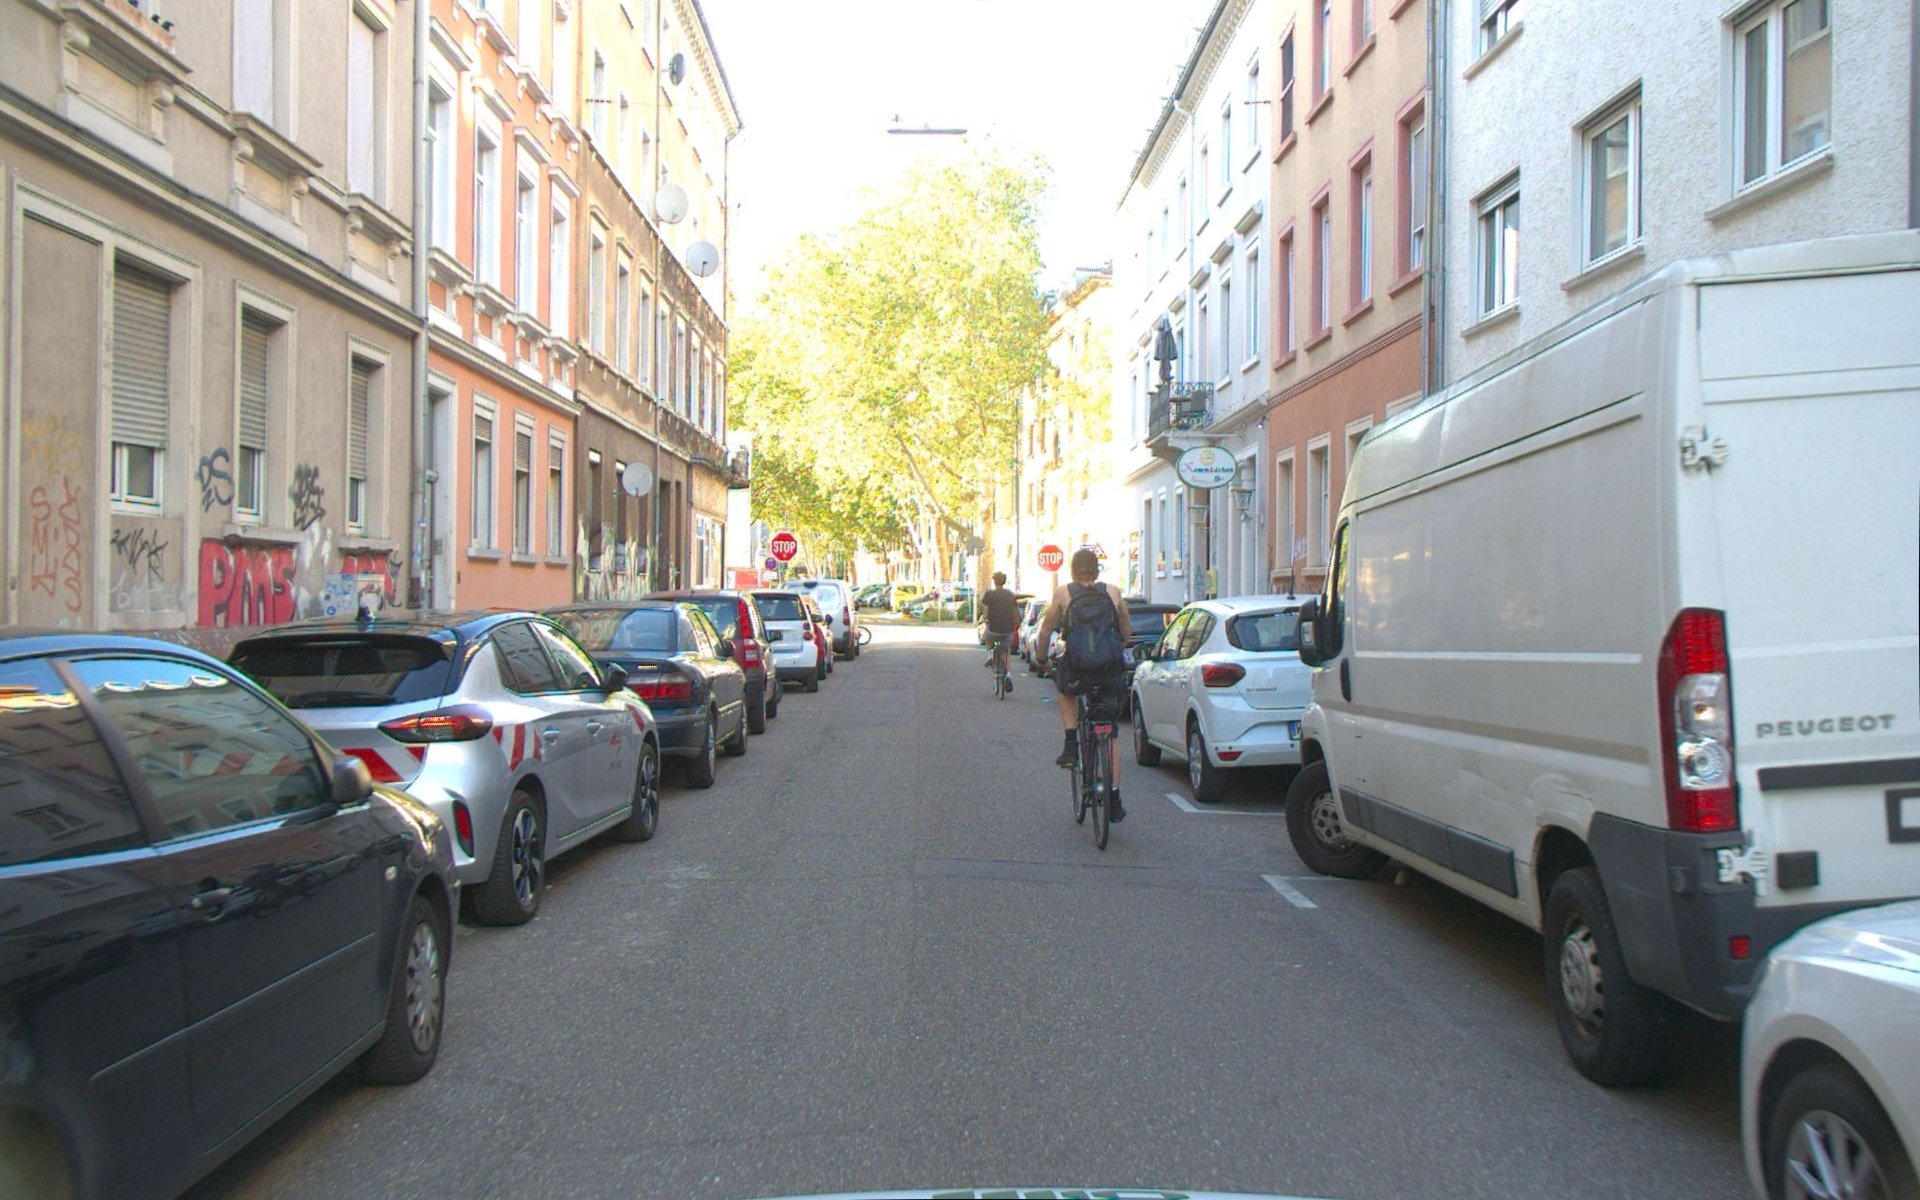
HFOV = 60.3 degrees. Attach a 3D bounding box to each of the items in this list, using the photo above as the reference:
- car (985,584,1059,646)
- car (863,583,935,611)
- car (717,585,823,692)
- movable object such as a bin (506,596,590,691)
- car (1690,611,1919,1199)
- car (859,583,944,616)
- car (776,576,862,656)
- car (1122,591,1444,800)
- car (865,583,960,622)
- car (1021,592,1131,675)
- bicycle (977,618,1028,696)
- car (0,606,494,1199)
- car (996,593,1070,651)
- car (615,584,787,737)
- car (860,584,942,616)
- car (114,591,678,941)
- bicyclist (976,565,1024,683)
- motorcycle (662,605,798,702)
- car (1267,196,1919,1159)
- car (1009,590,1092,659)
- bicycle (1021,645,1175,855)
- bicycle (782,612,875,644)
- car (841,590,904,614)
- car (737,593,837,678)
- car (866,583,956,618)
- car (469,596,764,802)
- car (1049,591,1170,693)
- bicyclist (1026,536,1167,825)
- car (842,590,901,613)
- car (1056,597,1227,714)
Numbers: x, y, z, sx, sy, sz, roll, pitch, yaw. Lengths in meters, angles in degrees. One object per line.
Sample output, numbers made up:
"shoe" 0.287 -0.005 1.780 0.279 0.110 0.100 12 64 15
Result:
"car" 1.846 0.421 50.232 1.855 1.800 3.997 0 0 -4
"car" -3.800 -0.180 102.748 4.382 1.725 1.864 0 0 -6
"car" -2.960 0.552 26.258 1.514 1.578 3.462 0 0 -4
"movable object such as a bin" -5.330 0.554 21.448 0.817 1.146 0.716 -4 0 1
"car" 2.670 0.767 2.076 1.690 1.454 3.830 0 0 -3
"car" -3.120 -0.037 87.314 4.382 1.725 1.864 0 0 -6
"car" -3.228 0.341 38.454 1.752 1.767 3.875 0 0 -2
"car" 2.543 0.672 13.977 1.697 1.496 4.018 0 0 -4
"car" -2.245 0.101 77.852 4.382 1.790 1.864 0 0 -6
"car" 2.194 0.605 32.225 1.676 1.496 3.998 0 0 -3
"bicycle" 0.605 0.803 24.133 0.650 1.055 1.958 0 0 -1
"car" -2.385 0.768 3.900 1.559 1.465 3.653 0 0 0
"car" 1.943 0.575 44.902 1.653 1.497 3.572 0 0 -3
"car" -2.864 0.614 18.885 1.573 1.557 3.377 -1 0 -3
"car" -3.213 -0.016 89.619 4.382 1.725 1.864 0 0 -6
"car" -2.693 0.684 8.869 1.639 1.455 3.889 0 0 1
"bicyclist" 0.584 0.342 24.141 0.656 1.687 0.877 0 0 -1
"motorcycle" -3.138 0.708 22.502 1.766 1.278 0.707 0 0 -16
"car" 2.990 0.187 7.473 2.159 2.595 6.036 0 0 1
"car" 2.109 0.554 39.331 1.619 1.557 3.572 0 0 -3
"bicycle" 0.832 0.894 10.559 0.725 1.120 2.041 2 0 -2
"bicycle" -3.810 0.807 48.042 2.662 0.907 0.618 0 0 -4
"car" -6.293 0.124 118.703 4.382 1.725 1.864 0 0 -6
"car" -3.083 0.598 30.020 1.521 1.424 3.666 0 0 -2
"car" -2.462 -0.005 82.836 4.382 1.725 1.864 0 0 -6
"car" -2.695 0.699 13.929 1.671 1.438 4.301 0 0 -1
"car" 2.352 0.618 26.771 1.560 1.518 3.875 0 0 -1
"bicyclist" 0.841 0.481 10.482 0.725 1.708 1.116 2 0 -2
"car" -6.740 0.076 125.396 4.382 1.725 1.864 0 0 -6
"car" 2.293 0.661 21.789 1.624 1.361 3.998 0 0 -3
